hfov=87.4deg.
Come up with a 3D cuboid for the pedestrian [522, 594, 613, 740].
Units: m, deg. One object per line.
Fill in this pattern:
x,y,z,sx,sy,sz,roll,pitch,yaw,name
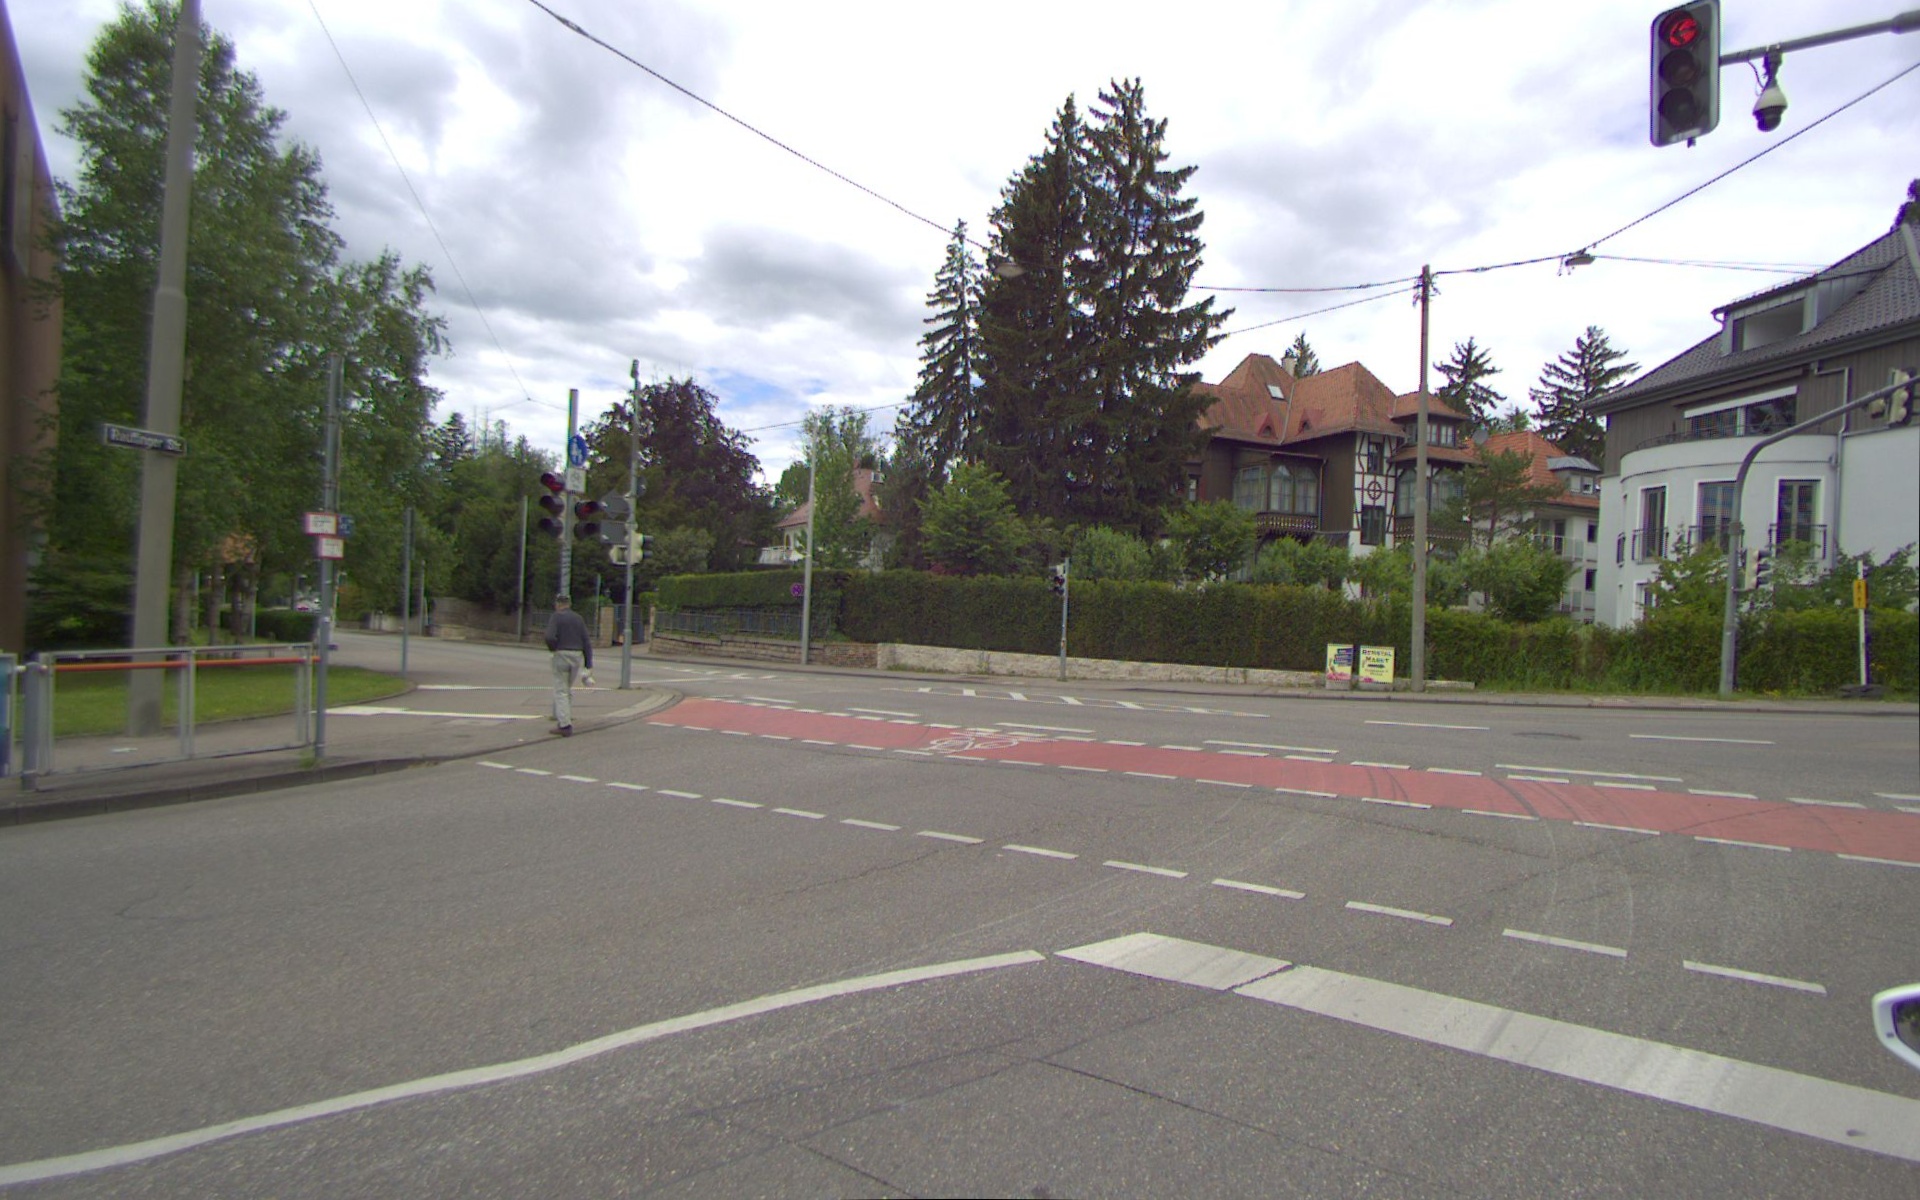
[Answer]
-4.616,0.771,11.833,0.726,1.655,0.683,-1,-1,22,pedestrian
